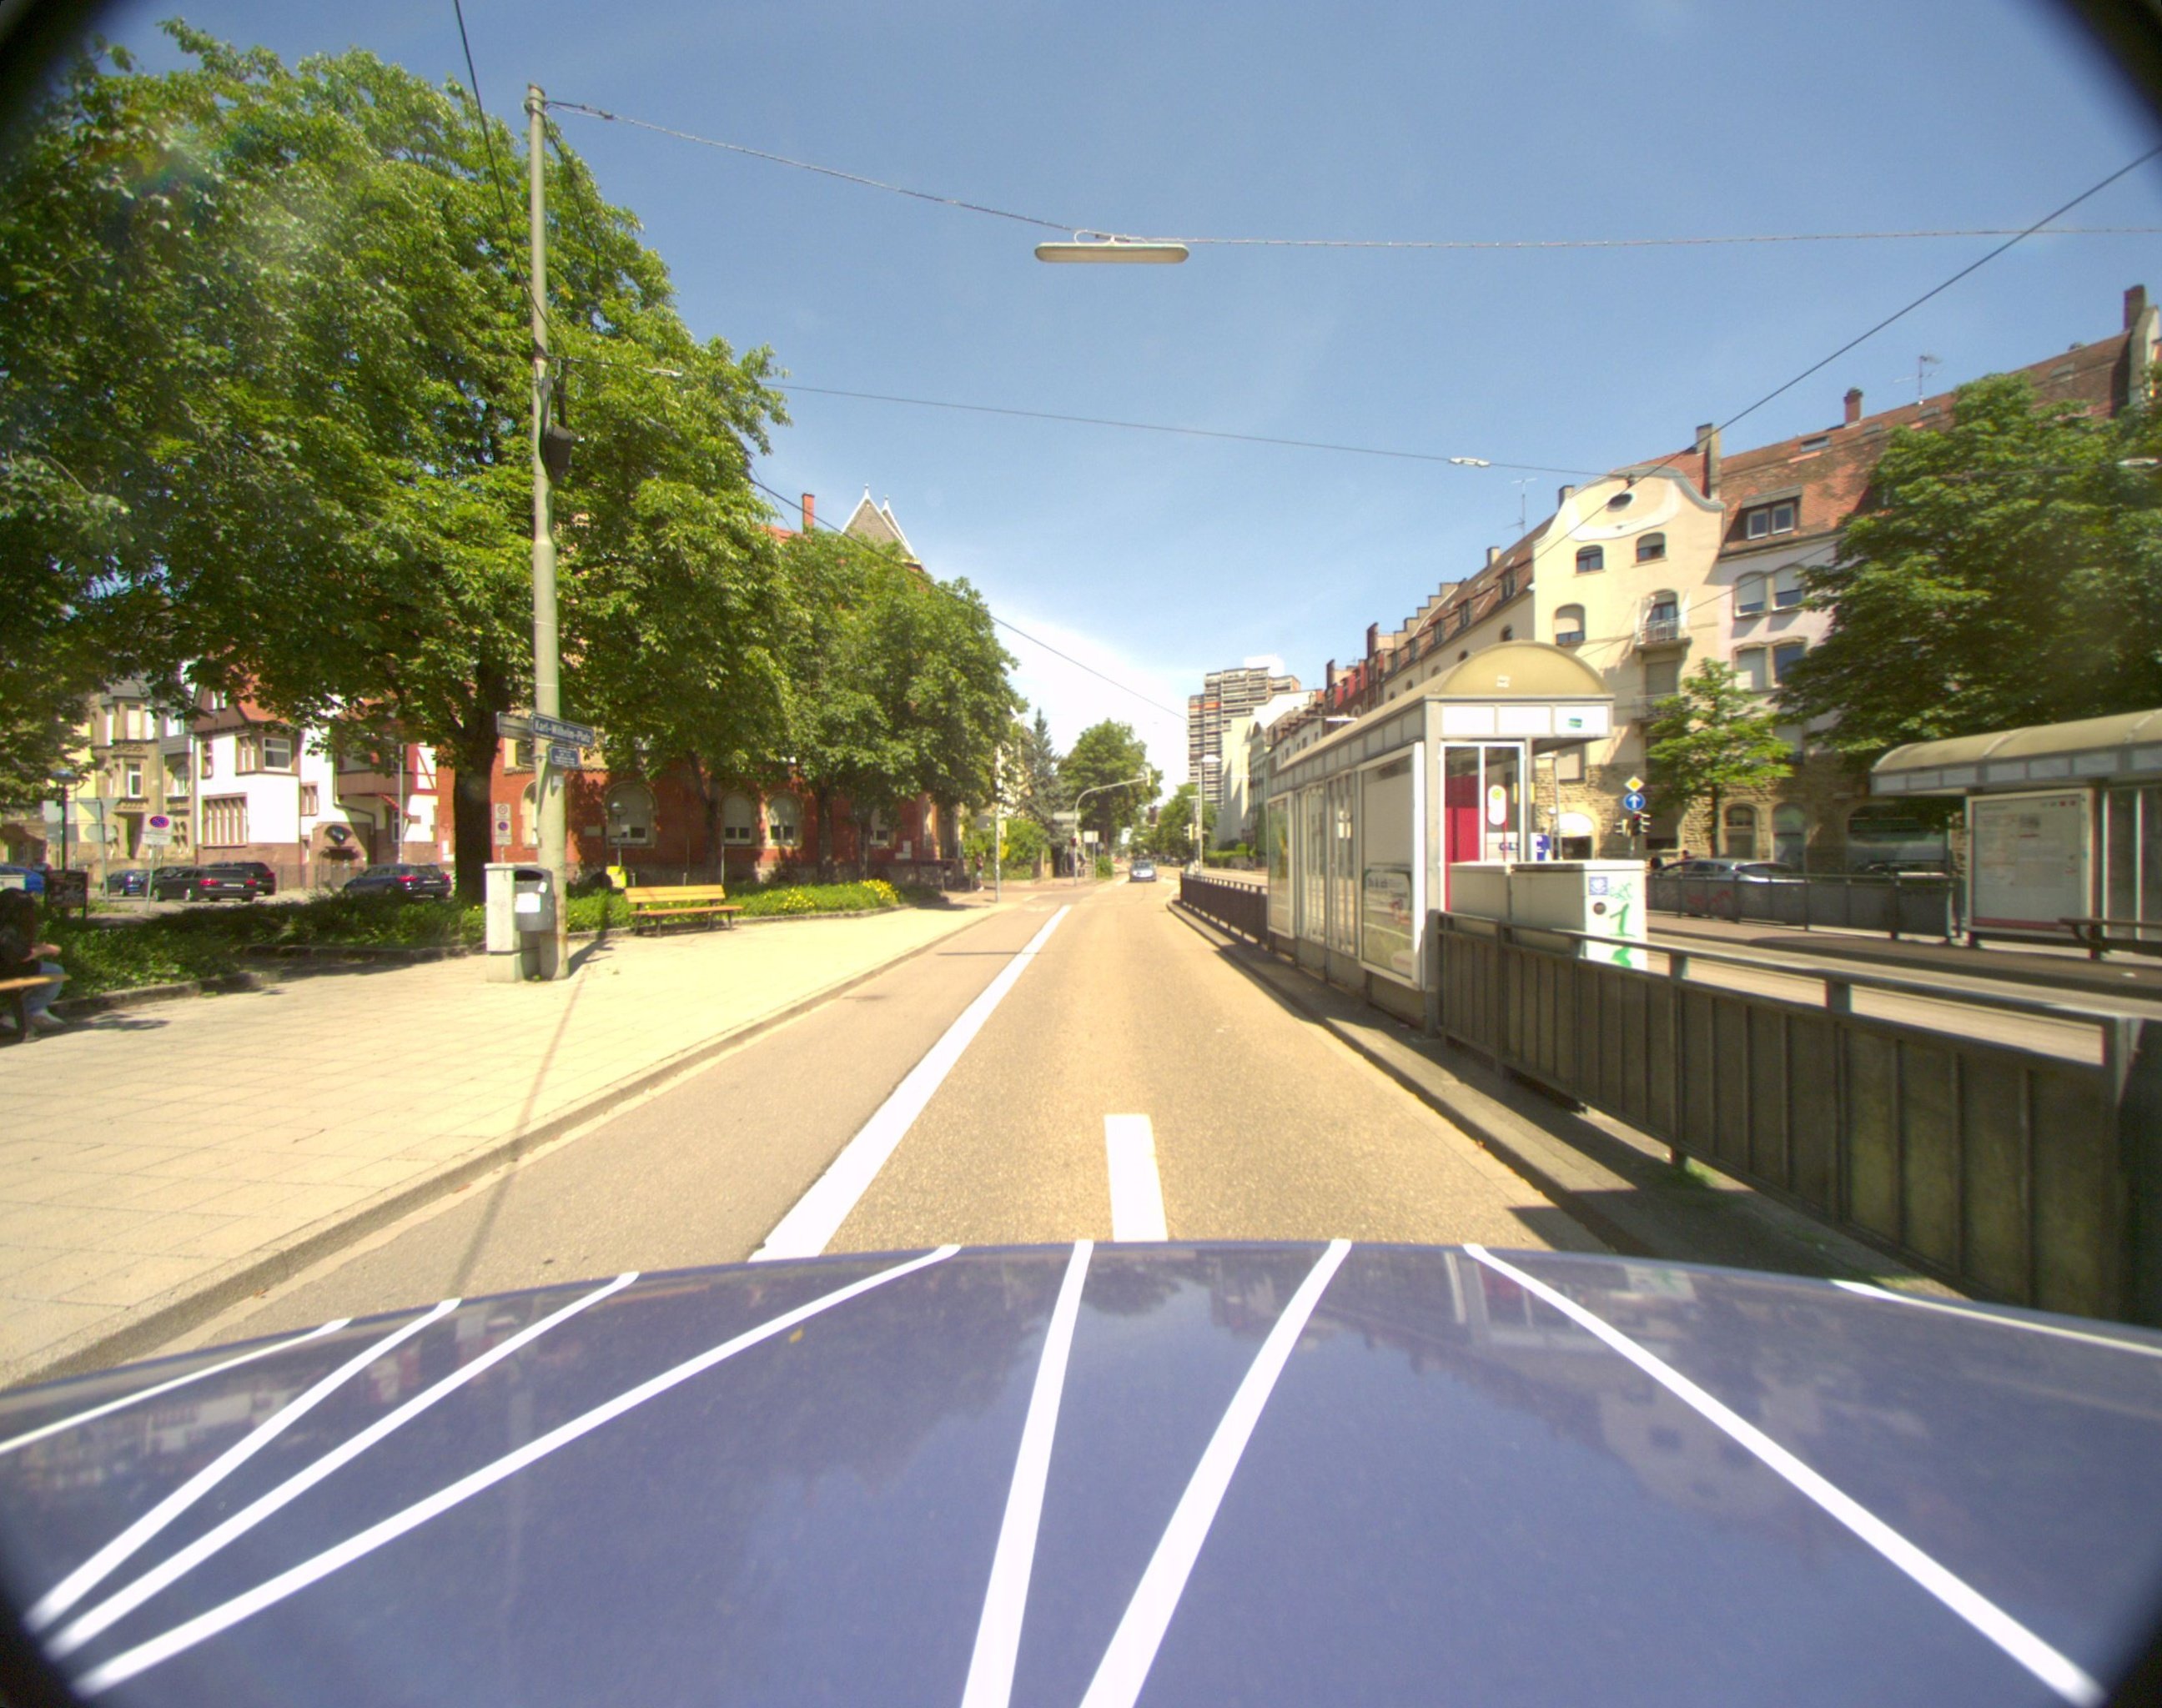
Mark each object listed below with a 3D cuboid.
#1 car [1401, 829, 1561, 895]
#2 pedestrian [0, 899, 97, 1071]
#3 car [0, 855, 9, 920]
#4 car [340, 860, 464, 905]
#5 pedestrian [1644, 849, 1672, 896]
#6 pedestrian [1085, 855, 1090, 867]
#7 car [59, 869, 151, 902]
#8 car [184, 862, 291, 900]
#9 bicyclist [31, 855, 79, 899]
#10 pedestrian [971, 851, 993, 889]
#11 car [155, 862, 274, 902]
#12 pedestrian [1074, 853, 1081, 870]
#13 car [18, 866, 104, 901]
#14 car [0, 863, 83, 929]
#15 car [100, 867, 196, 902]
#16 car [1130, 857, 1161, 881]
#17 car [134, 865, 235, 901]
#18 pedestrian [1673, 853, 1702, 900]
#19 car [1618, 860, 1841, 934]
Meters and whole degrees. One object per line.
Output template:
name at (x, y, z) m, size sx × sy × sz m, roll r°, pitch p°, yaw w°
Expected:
car at (17.690, 0.340, 33.882) m, size 2.278 × 2.658 × 5.812 m, roll -3°, pitch 1°, yaw -40°
pedestrian at (-7.743, 0.912, 5.415) m, size 0.566 × 1.136 × 0.725 m, roll 0°, pitch 1°, yaw -16°
car at (-37.659, 1.200, 23.794) m, size 1.934 × 2.178 × 4.315 m, roll -2°, pitch 1°, yaw 23°
car at (-27.042, 1.132, 30.285) m, size 4.299 × 1.608 × 1.941 m, roll -2°, pitch 1°, yaw 23°
pedestrian at (20.130, 0.649, 26.519) m, size 0.594 × 1.637 × 0.474 m, roll 0°, pitch 0°, yaw 1°
pedestrian at (0.971, 1.121, 121.145) m, size 0.686 × 1.732 × 0.660 m, roll -2°, pitch 1°, yaw 3°
car at (-53.022, 1.726, 41.269) m, size 4.299 × 1.608 × 1.941 m, roll -2°, pitch 1°, yaw 23°
car at (-39.588, 1.273, 35.665) m, size 4.299 × 1.608 × 1.941 m, roll -2°, pitch 1°, yaw 23°
bicyclist at (-41.240, 0.925, 30.538) m, size 1.251 × 1.686 × 0.876 m, roll -2°, pitch 1°, yaw 26°
pedestrian at (-4.819, 0.779, 36.932) m, size 0.840 × 1.813 × 0.672 m, roll -1°, pitch 1°, yaw -32°
car at (-35.628, 1.171, 31.234) m, size 5.023 × 1.474 × 1.941 m, roll -2°, pitch 1°, yaw 26°
pedestrian at (-0.354, 0.764, 77.593) m, size 0.702 × 1.645 × 0.665 m, roll 0°, pitch 0°, yaw 1°
car at (-59.176, 1.707, 44.080) m, size 4.299 × 1.862 × 1.941 m, roll -2°, pitch 1°, yaw 23°
car at (-32.843, 1.300, 22.026) m, size 1.934 × 1.869 × 4.315 m, roll -2°, pitch 1°, yaw 23°
car at (-48.421, 1.570, 39.434) m, size 4.299 × 1.608 × 1.941 m, roll -2°, pitch 1°, yaw 23°
car at (4.320, 0.981, 50.848) m, size 1.895 × 1.372 × 4.001 m, roll -2°, pitch 1°, yaw 5°
car at (-44.148, 1.429, 37.411) m, size 4.299 × 1.608 × 1.941 m, roll -2°, pitch 1°, yaw 23°
pedestrian at (20.288, 0.752, 25.421) m, size 0.594 × 1.542 × 0.474 m, roll 0°, pitch 0°, yaw -1°
car at (14.838, 0.909, 17.722) m, size 1.812 × 1.386 × 3.999 m, roll -2°, pitch 1°, yaw 1°
